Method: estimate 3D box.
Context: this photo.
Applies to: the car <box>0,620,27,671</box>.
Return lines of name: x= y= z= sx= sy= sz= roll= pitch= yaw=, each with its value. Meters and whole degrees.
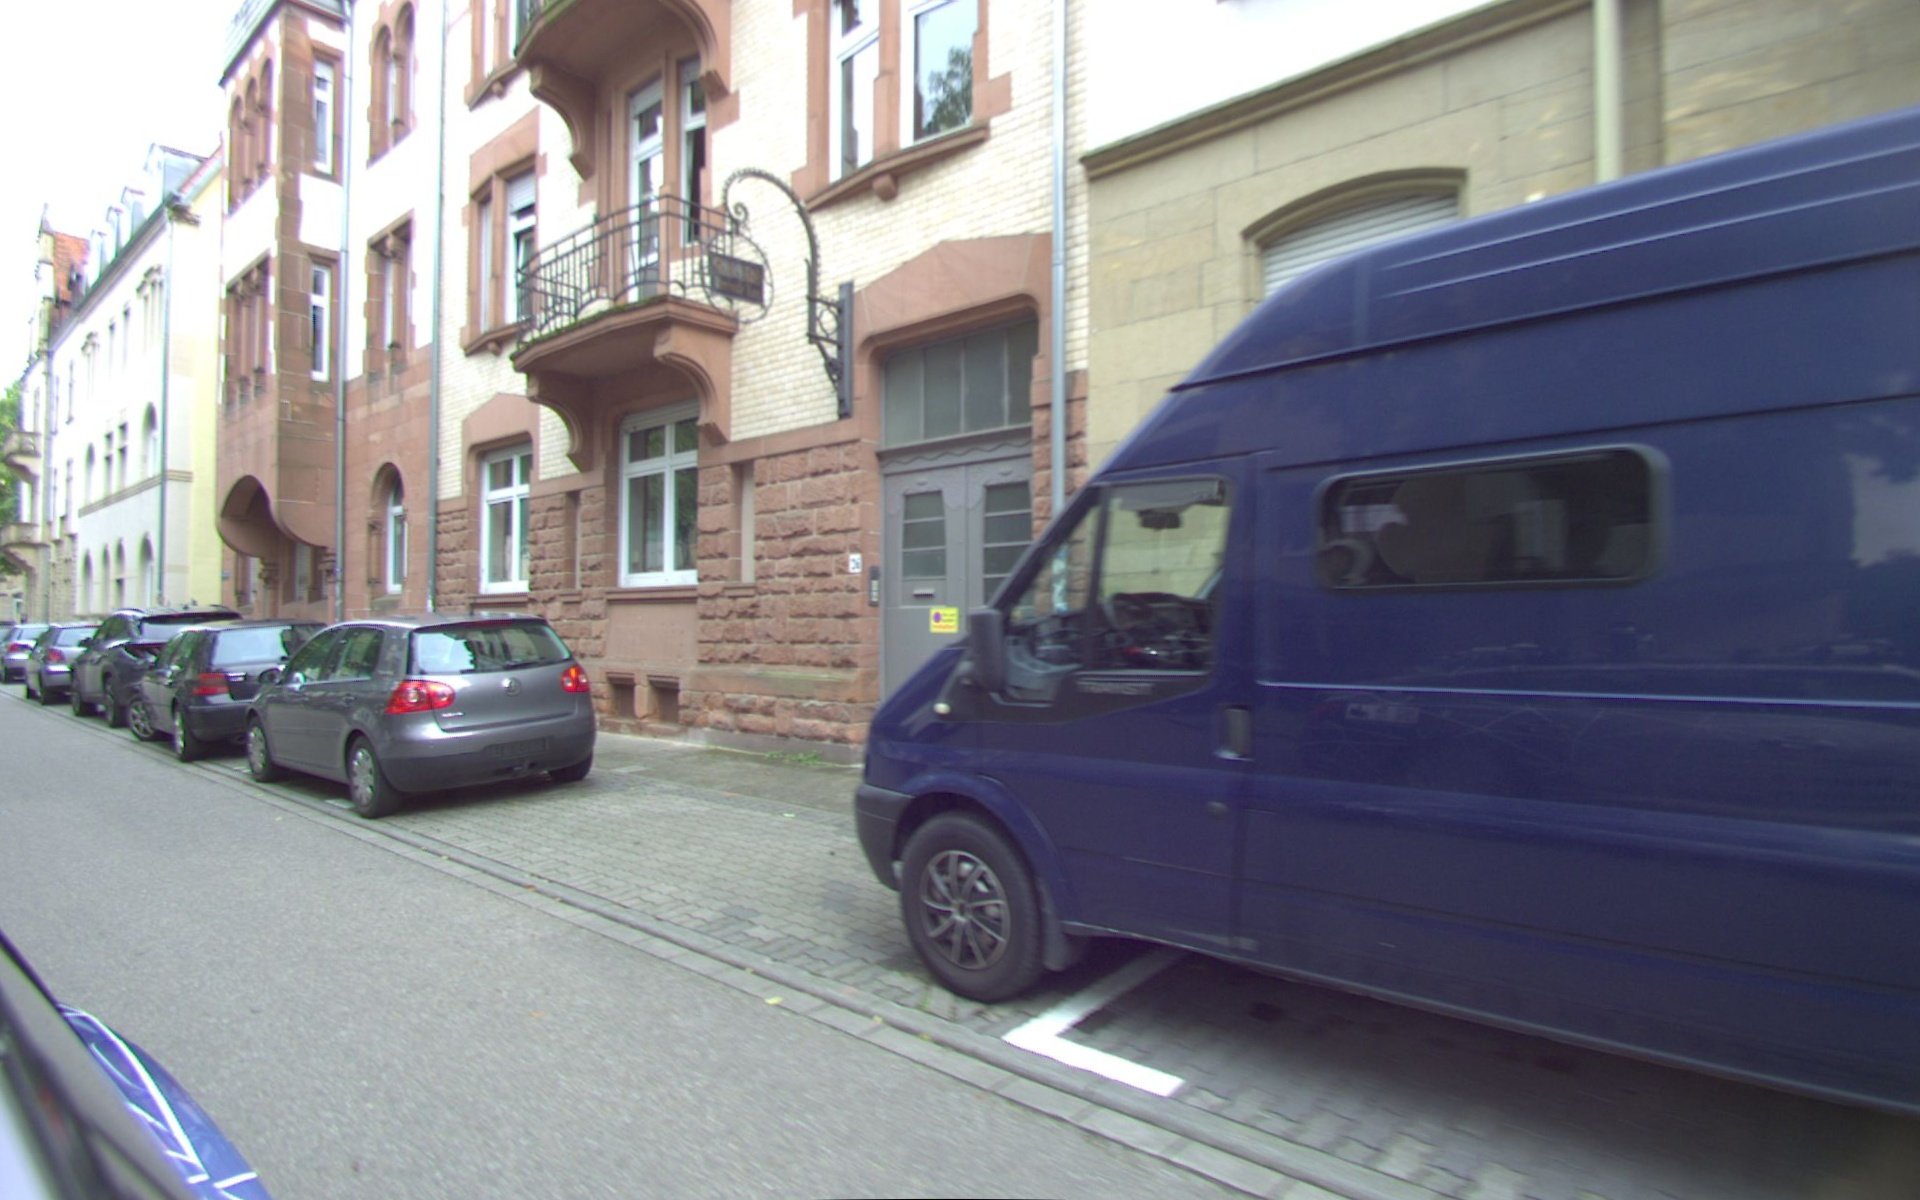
car: x=-31.434 y=1.507 z=32.612 sx=2.954 sy=1.582 sz=1.630 roll=-3 pitch=0 yaw=40

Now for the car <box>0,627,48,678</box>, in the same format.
car: x=-28.279 y=1.543 z=29.839 sx=3.928 sy=1.397 sz=1.707 roll=-2 pitch=-2 yaw=43

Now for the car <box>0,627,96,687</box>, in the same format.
car: x=-23.294 y=1.386 z=25.442 sx=4.133 sy=1.397 sz=1.709 roll=-2 pitch=-2 yaw=40

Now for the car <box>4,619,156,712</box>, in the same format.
car: x=-16.641 y=1.174 z=19.085 sx=3.928 sy=1.431 sz=1.645 roll=-2 pitch=3 yaw=43

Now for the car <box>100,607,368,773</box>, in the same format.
car: x=-8.576 y=0.897 z=11.828 sx=3.999 sy=1.483 sz=1.618 roll=0 pitch=4 yaw=42

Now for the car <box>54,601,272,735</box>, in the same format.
car: x=-12.205 y=0.948 z=15.391 sx=4.359 sy=1.659 sz=1.768 roll=-2 pitch=2 yaw=41

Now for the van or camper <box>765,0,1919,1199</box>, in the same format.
van or camper: x=1.815 y=0.062 z=3.387 sx=5.313 sy=2.672 sz=1.987 roll=-2 pitch=0 yaw=42

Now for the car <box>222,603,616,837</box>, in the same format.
car: x=-4.774 y=0.838 z=8.675 sx=3.998 sy=1.484 sz=1.650 roll=-2 pitch=1 yaw=42
